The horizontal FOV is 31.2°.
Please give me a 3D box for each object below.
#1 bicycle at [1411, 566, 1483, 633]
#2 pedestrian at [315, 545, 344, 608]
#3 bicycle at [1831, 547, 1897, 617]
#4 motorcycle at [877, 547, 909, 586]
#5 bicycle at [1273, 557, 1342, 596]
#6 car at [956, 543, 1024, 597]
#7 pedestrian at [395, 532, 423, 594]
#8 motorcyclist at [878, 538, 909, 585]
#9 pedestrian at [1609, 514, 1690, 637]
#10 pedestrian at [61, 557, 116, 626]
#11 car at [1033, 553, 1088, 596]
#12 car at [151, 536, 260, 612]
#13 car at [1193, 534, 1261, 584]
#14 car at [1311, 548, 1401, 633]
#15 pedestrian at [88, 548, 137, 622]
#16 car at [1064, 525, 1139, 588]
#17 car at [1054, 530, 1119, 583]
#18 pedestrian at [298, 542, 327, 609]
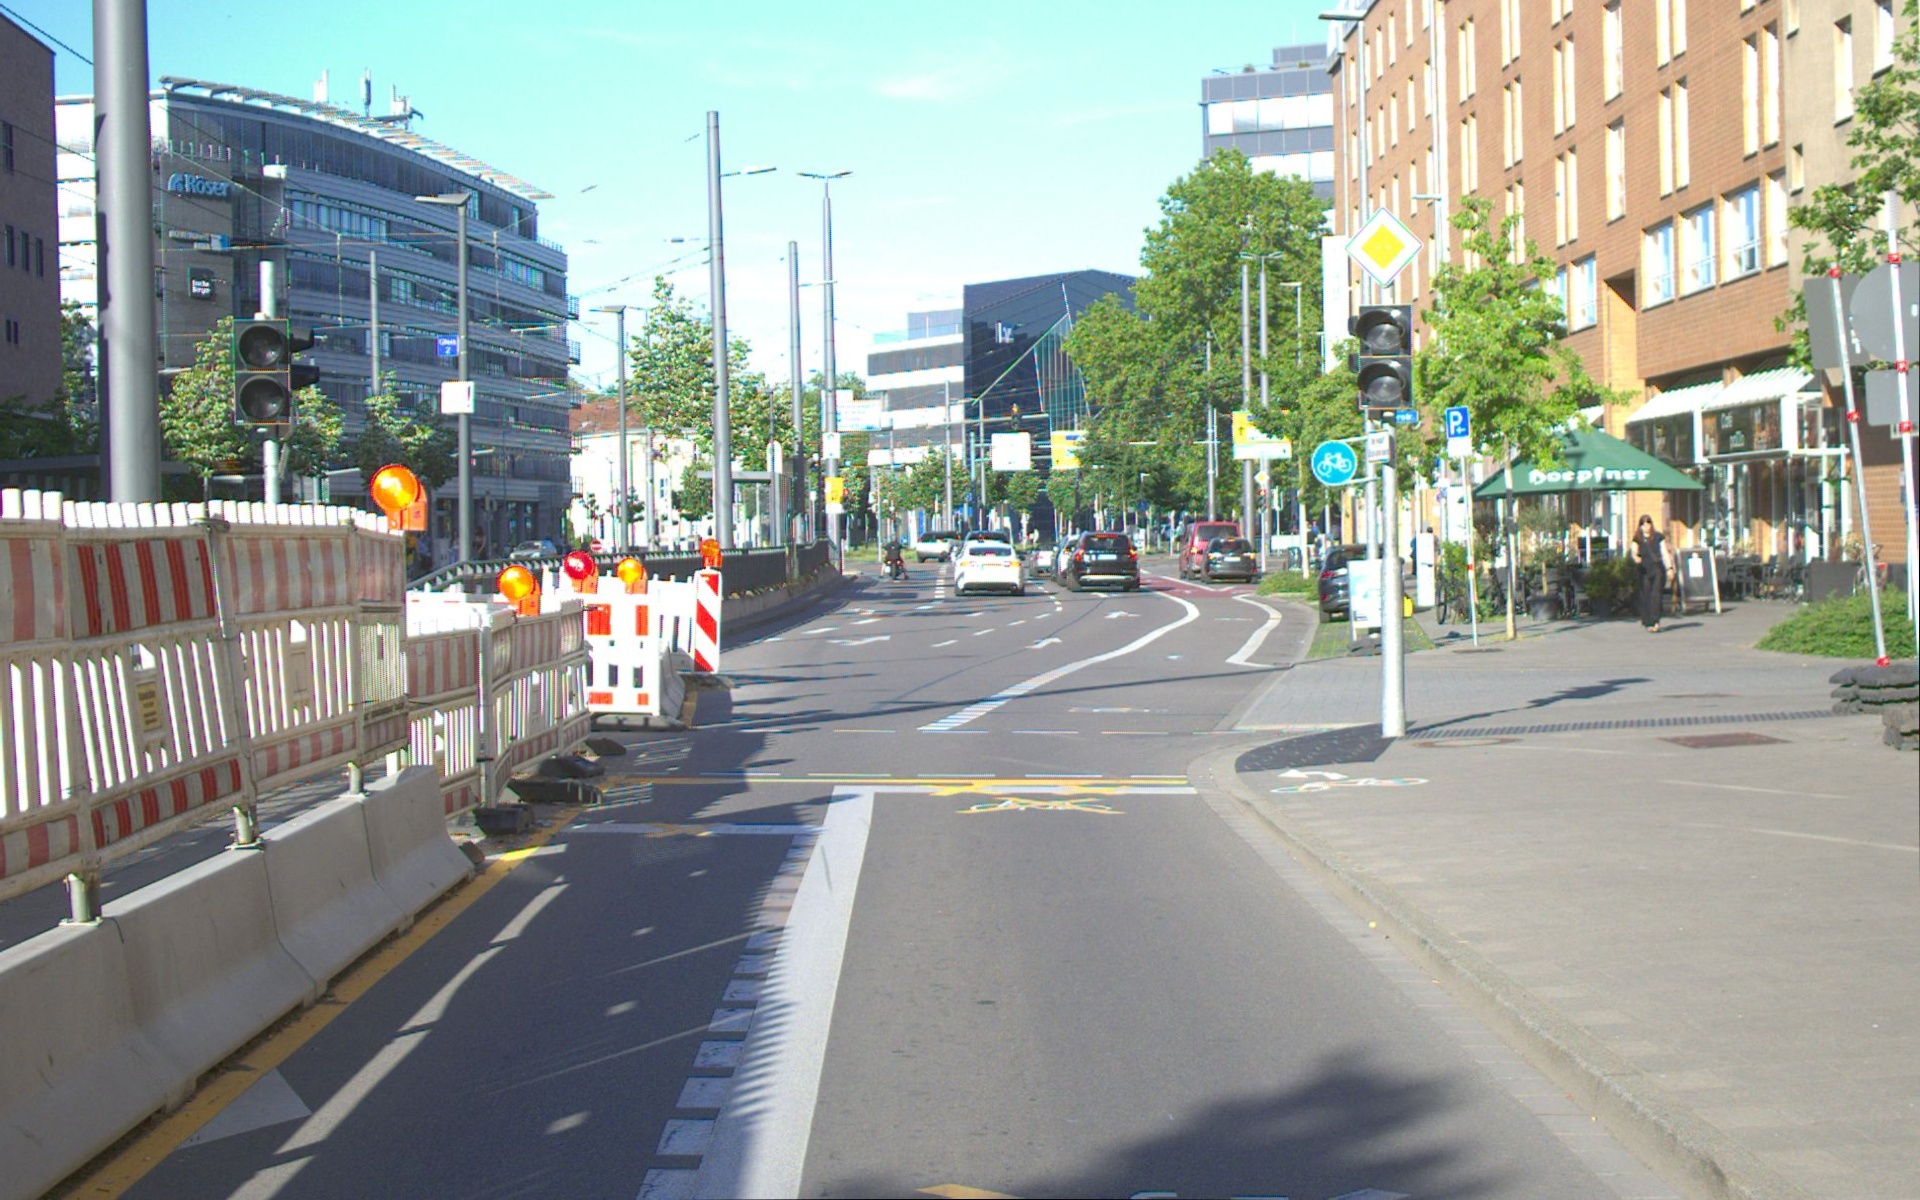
[{"bbox_3d":[8.569,-0.004,60.588,0.765,1.077,1.998,-6,0,-3],"label":"bicycle"},{"bbox_3d":[-16.164,-0.610,88.171,0.622,1.606,0.616,0,1,0],"label":"pedestrian"},{"bbox_3d":[15.555,-0.312,59.182,0.613,1.165,1.537,-2,1,-3],"label":"bicycle"},{"bbox_3d":[-2.321,-1.164,119.700,1.019,1.307,2.914,1,1,0],"label":"motorcycle"},{"bbox_3d":[10.242,-0.688,101.224,1.946,1.071,0.554,-2,0,11],"label":"bicycle"},{"bbox_3d":[0.799,-0.835,94.004,1.780,1.409,4.819,1,1,0],"label":"car"},{"bbox_3d":[-15.081,-1.022,94.090,0.640,1.690,0.541,1,1,0],"label":"pedestrian"},{"bbox_3d":[-2.324,-1.337,119.701,1.019,1.598,1.148,1,1,0],"label":"motorcyclist"},{"bbox_3d":[10.105,-0.361,50.361,0.885,1.757,1.104,-3,0,22],"label":"pedestrian"},{"bbox_3d":[-15.280,-0.157,60.273,0.721,1.164,0.721,-3,1,0],"label":"pedestrian"},{"bbox_3d":[3.614,-0.950,124.359,1.851,1.492,4.379,0,1,0],"label":"car"},{"bbox_3d":[-19.202,-0.681,87.623,1.993,1.874,4.584,-1,1,-3],"label":"car"},{"bbox_3d":[8.643,-1.328,111.561,1.846,1.555,4.633,1,1,0],"label":"car"},{"bbox_3d":[8.104,-0.220,70.521,1.721,1.631,4.230,-2,1,6],"label":"car"},{"bbox_3d":[-15.362,-0.268,62.312,0.646,1.304,0.721,-3,1,0],"label":"pedestrian"},{"bbox_3d":[4.062,-1.268,99.633,1.975,1.753,4.633,1,1,0],"label":"car"},{"bbox_3d":[3.918,-1.368,107.221,1.851,1.634,4.379,0,1,0],"label":"car"},{"bbox_3d":[-16.363,-0.623,86.900,0.622,1.709,0.616,0,1,0],"label":"pedestrian"}]
